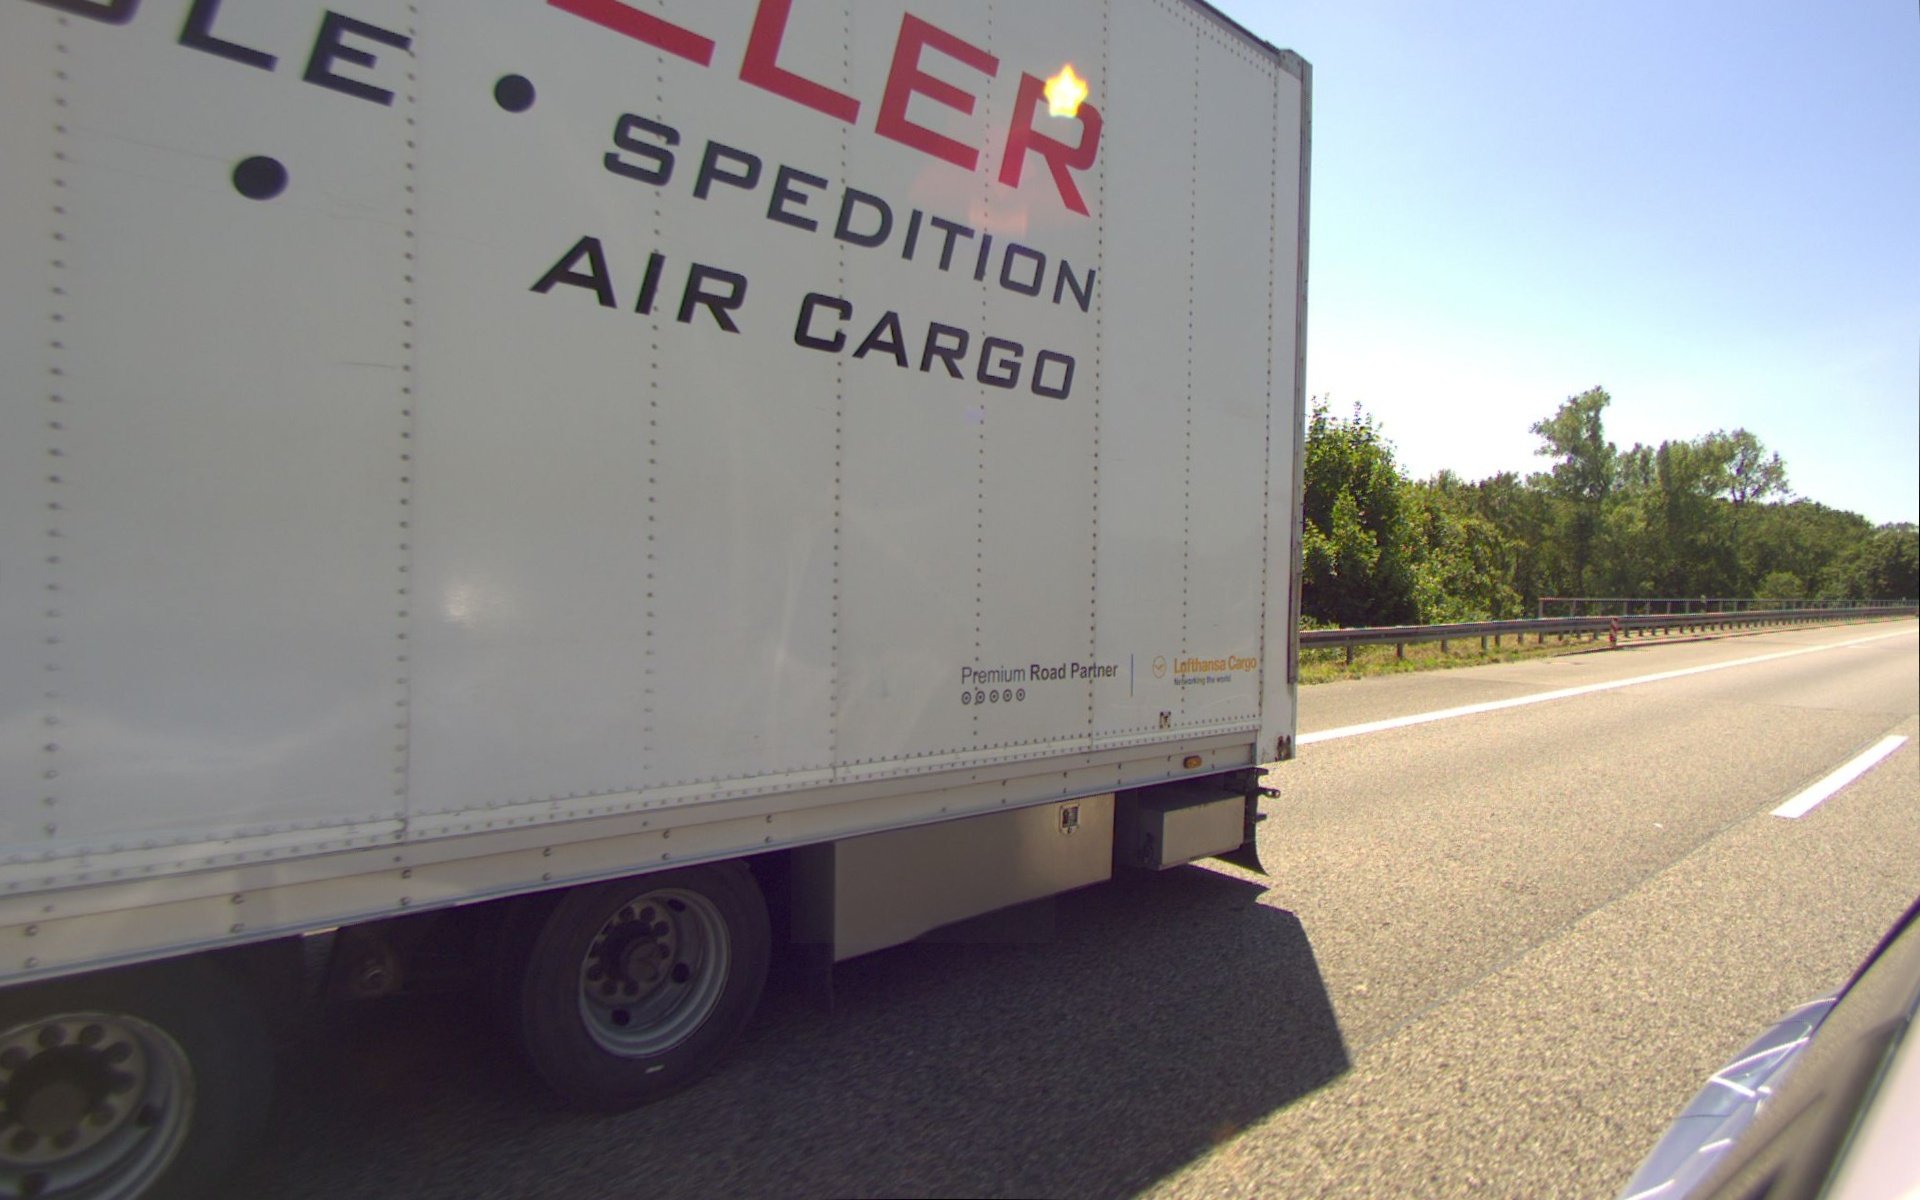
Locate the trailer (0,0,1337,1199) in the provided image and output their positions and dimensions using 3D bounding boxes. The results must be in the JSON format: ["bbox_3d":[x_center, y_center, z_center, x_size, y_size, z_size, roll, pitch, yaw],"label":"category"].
[{"bbox_3d":[-4.608,-0.967,1.334,13.780,4.898,3.276,0,0,-40],"label":"trailer"}]
